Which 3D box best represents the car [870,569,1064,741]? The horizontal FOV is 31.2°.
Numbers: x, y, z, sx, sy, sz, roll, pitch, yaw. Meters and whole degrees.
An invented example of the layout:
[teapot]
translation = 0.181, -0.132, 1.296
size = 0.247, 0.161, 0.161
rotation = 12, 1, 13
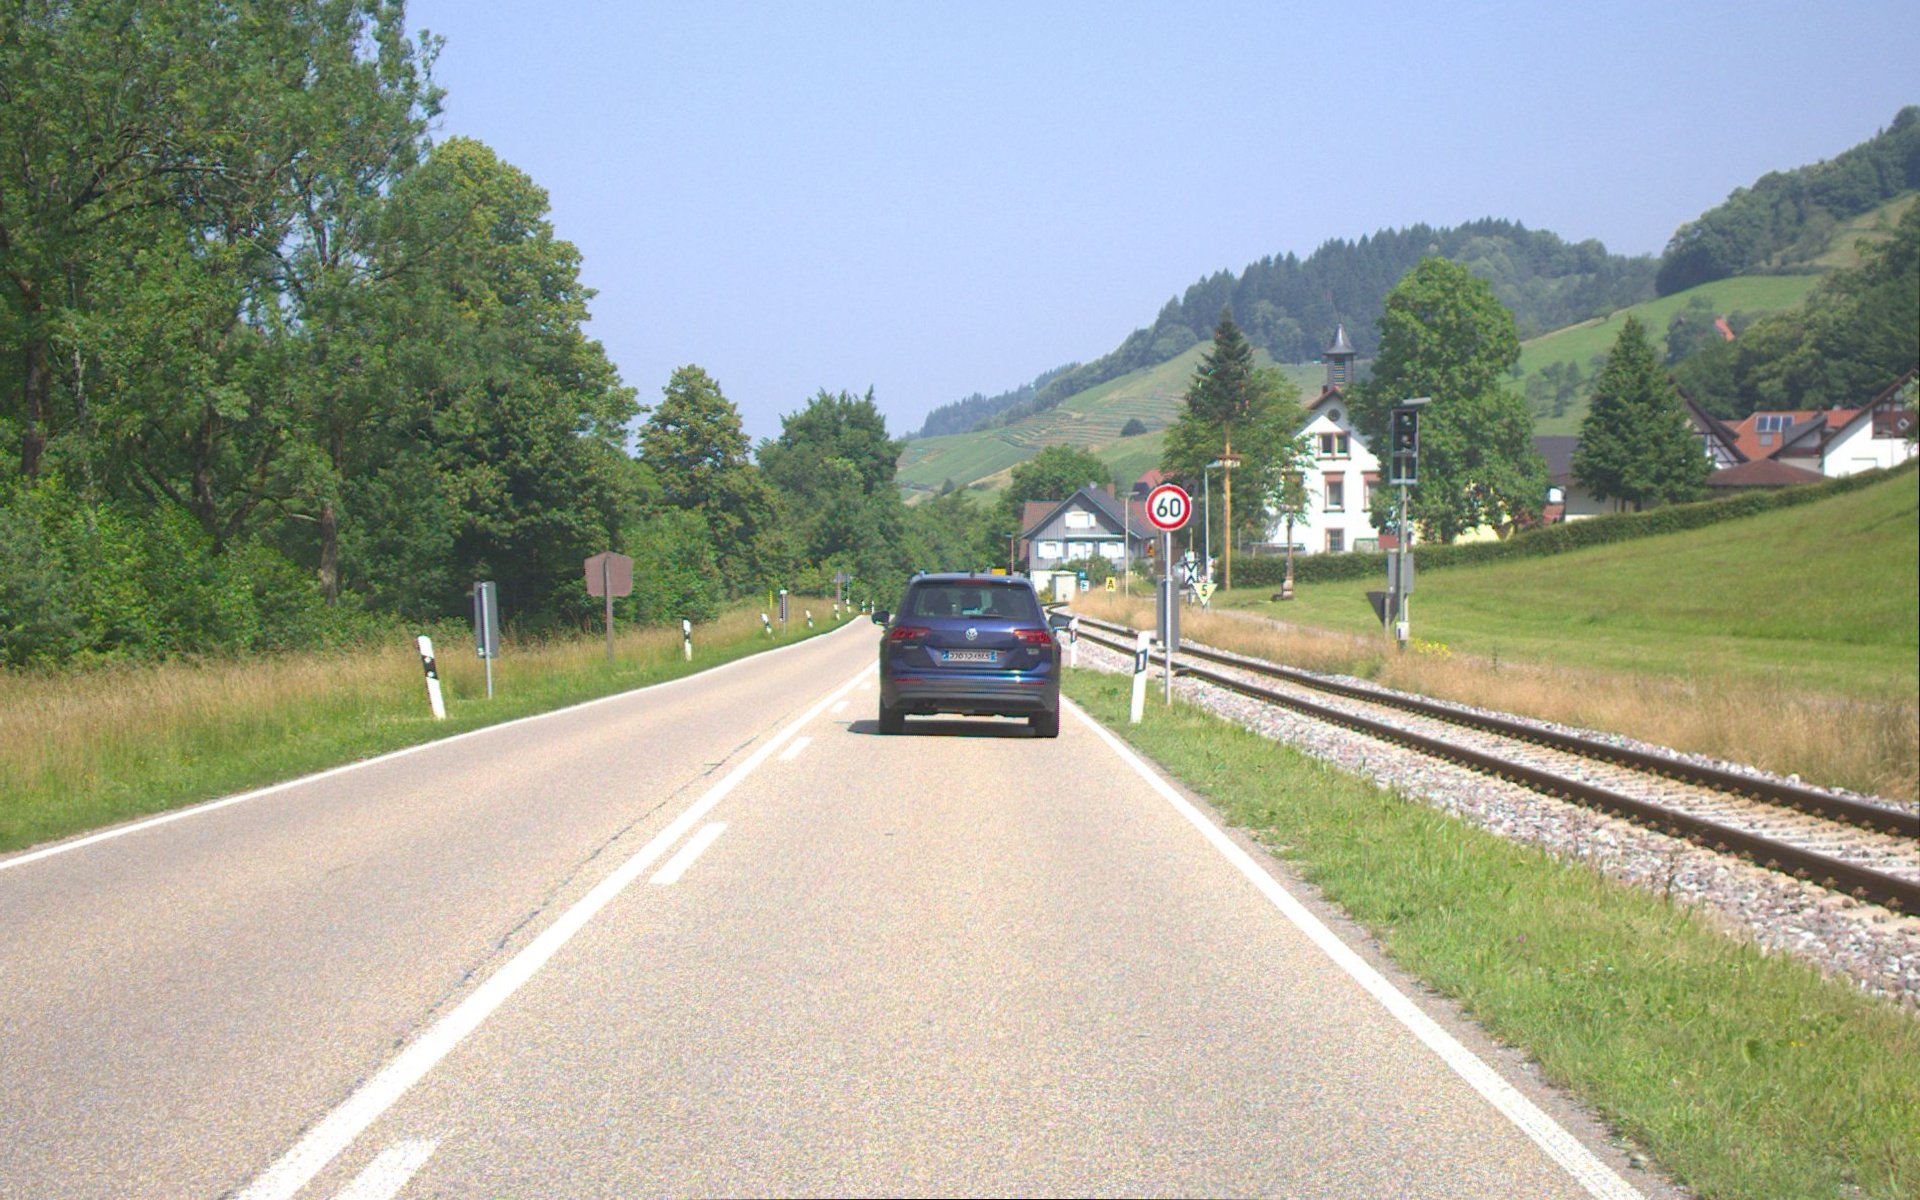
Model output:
[car]
translation = 0.050, 0.531, 35.478
size = 1.852, 1.644, 4.140
rotation = 1, 0, -1
